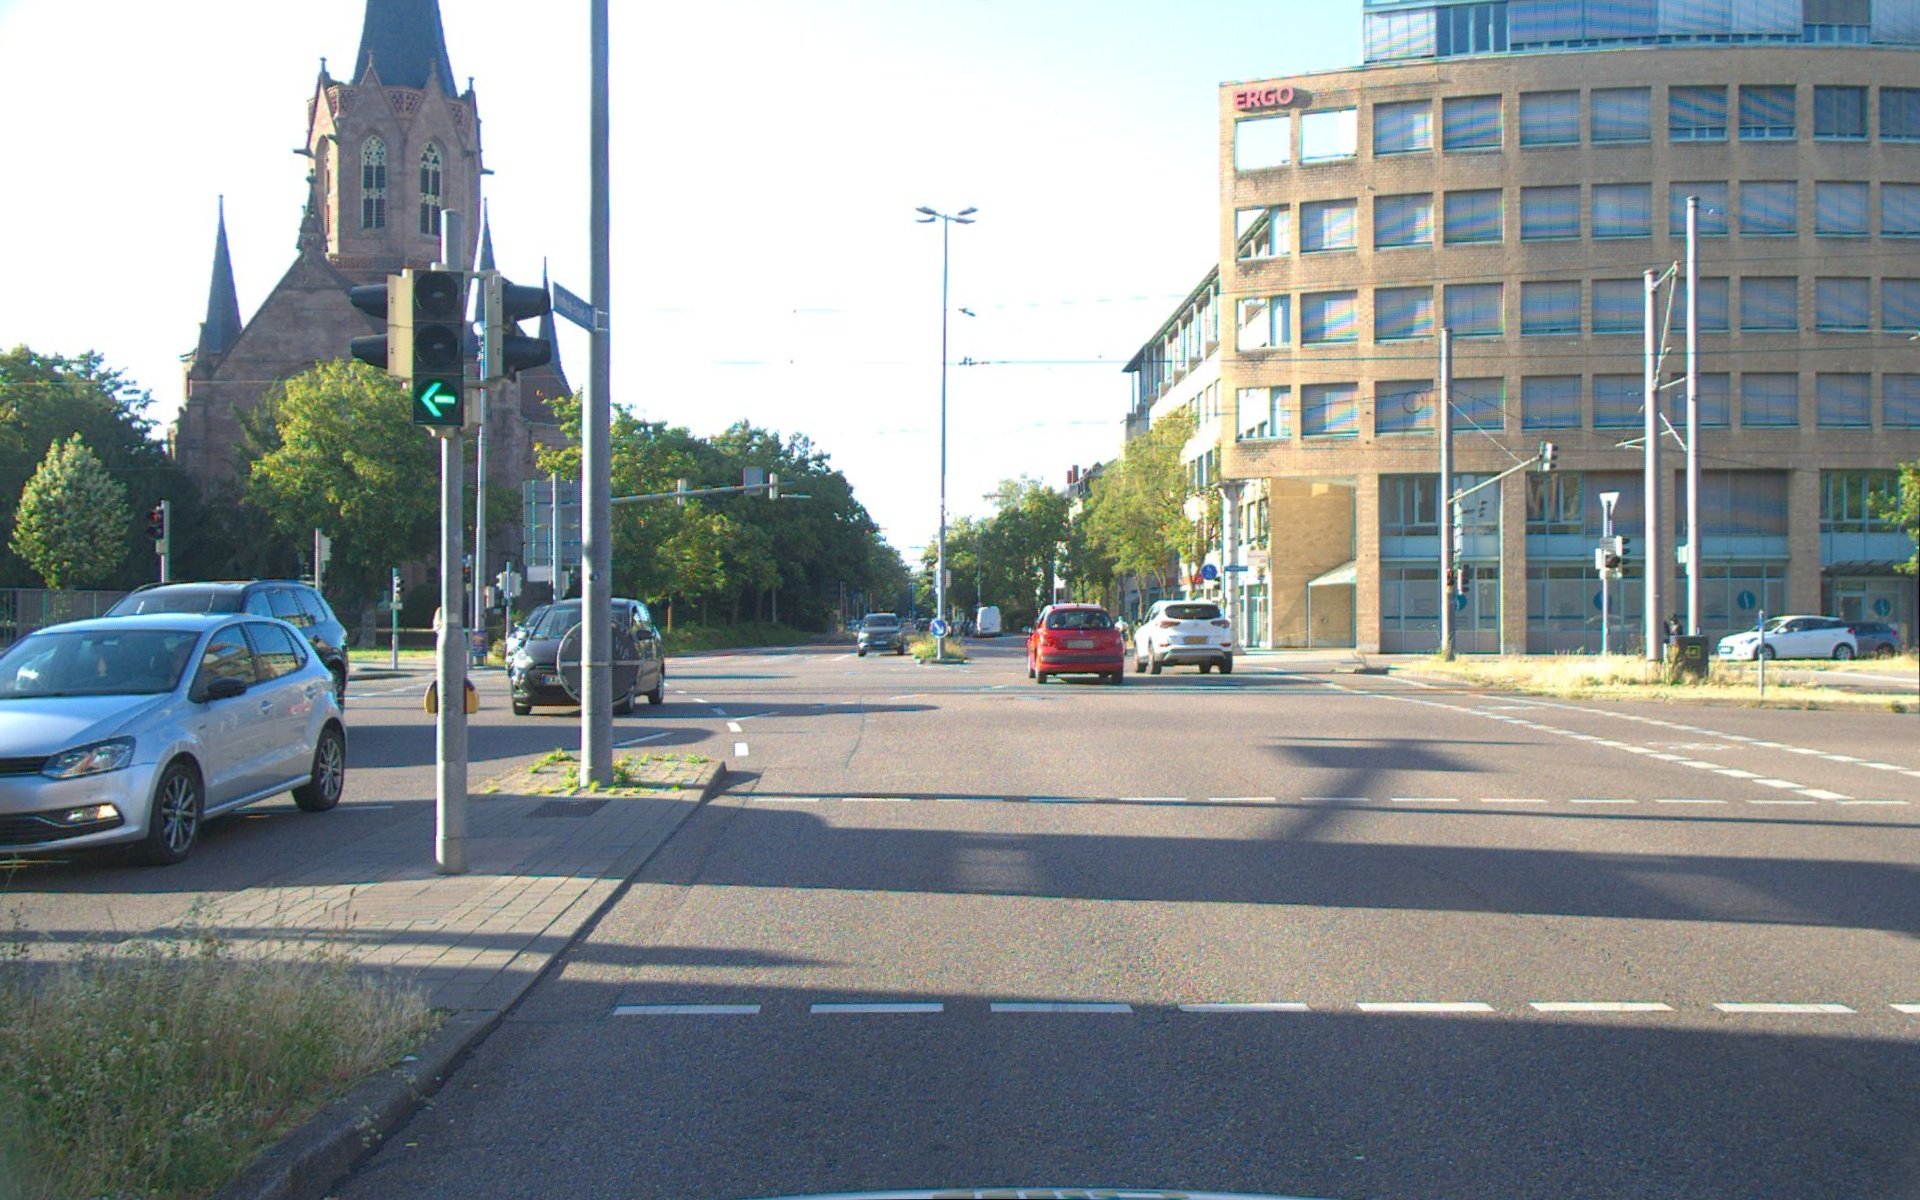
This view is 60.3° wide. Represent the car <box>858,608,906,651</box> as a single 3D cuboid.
[{"bbox_3d":[-3.301,1.280,70.724,1.953,1.754,5.029,0,-1,-2],"label":"car"}]

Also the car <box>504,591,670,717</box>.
[{"bbox_3d":[-5.111,0.689,23.061,1.546,1.571,3.476,-2,0,-1],"label":"car"}]

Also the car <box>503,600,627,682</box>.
[{"bbox_3d":[-8.424,0.828,35.613,1.758,1.593,4.146,-1,1,-2],"label":"car"}]

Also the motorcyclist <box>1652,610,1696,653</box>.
[{"bbox_3d":[24.508,1.075,56.759,1.044,1.461,1.031,0,-1,-2],"label":"motorcyclist"}]

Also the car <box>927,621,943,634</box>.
[{"bbox_3d":[-2.515,2.797,167.316,1.562,1.289,3.266,0,0,-1],"label":"car"}]

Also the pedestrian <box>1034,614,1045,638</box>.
[{"bbox_3d":[6.249,2.050,130.533,0.830,1.835,0.775,0,0,-1],"label":"pedestrian"}]

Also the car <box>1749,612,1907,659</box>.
[{"bbox_3d":[29.845,1.229,56.936,4.390,1.564,1.986,0,-1,-1],"label":"car"}]

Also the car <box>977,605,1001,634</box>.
[{"bbox_3d":[2.480,1.729,144.317,1.953,2.483,3.999,1,-1,-1],"label":"car"}]

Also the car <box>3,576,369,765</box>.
[{"bbox_3d":[-8.199,0.665,18.095,1.779,1.741,4.785,-2,0,-1],"label":"car"}]

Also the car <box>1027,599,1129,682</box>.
[{"bbox_3d":[2.255,0.766,32.466,1.636,1.488,3.999,1,-1,-1],"label":"car"}]

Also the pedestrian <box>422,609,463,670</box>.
[{"bbox_3d":[-15.106,1.146,48.327,0.945,1.770,0.812,0,-1,-2],"label":"pedestrian"}]

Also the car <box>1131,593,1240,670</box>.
[{"bbox_3d":[5.160,0.712,38.353,1.877,1.635,4.268,1,-1,-1],"label":"car"}]

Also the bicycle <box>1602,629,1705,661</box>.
[{"bbox_3d":[22.738,1.467,54.295,2.901,1.018,1.153,0,-1,-3],"label":"bicycle"}]

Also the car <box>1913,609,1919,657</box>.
[{"bbox_3d":[32.450,1.019,52.001,3.970,1.518,1.819,0,-1,-2],"label":"car"}]

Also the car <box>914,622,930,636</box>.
[{"bbox_3d":[-3.783,2.929,166.923,1.562,1.289,3.266,0,0,-1],"label":"car"}]

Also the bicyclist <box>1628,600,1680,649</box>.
[{"bbox_3d":[22.781,0.810,54.308,1.198,1.599,1.153,0,-1,-3],"label":"bicyclist"}]

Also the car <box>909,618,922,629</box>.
[{"bbox_3d":[-6.694,3.522,250.850,1.848,1.700,3.999,1,-1,-1],"label":"car"}]

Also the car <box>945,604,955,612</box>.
[{"bbox_3d":[-1.571,1.269,254.775,1.562,1.289,3.266,0,0,-1],"label":"car"}]

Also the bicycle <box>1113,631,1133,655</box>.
[{"bbox_3d":[6.824,1.796,69.300,0.580,0.959,1.977,1,-1,-1],"label":"bicycle"}]

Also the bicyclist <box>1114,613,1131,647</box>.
[{"bbox_3d":[6.832,1.252,69.402,0.580,1.393,0.929,1,-1,-1],"label":"bicyclist"}]

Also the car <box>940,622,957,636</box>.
[{"bbox_3d":[-1.073,2.704,156.116,1.562,1.289,3.266,0,0,-1],"label":"car"}]

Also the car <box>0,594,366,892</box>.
[{"bbox_3d":[-5.349,0.773,10.709,1.641,1.571,3.805,-2,0,-1],"label":"car"}]

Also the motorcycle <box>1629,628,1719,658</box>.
[{"bbox_3d":[24.495,1.474,56.751,2.663,0.981,1.031,0,-1,-2],"label":"motorcycle"}]

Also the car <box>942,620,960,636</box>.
[{"bbox_3d":[-0.759,2.401,143.317,1.562,1.289,3.266,0,0,-1],"label":"car"}]

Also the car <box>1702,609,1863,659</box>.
[{"bbox_3d":[25.690,1.060,51.749,4.080,1.518,1.994,0,-1,-3],"label":"car"}]
